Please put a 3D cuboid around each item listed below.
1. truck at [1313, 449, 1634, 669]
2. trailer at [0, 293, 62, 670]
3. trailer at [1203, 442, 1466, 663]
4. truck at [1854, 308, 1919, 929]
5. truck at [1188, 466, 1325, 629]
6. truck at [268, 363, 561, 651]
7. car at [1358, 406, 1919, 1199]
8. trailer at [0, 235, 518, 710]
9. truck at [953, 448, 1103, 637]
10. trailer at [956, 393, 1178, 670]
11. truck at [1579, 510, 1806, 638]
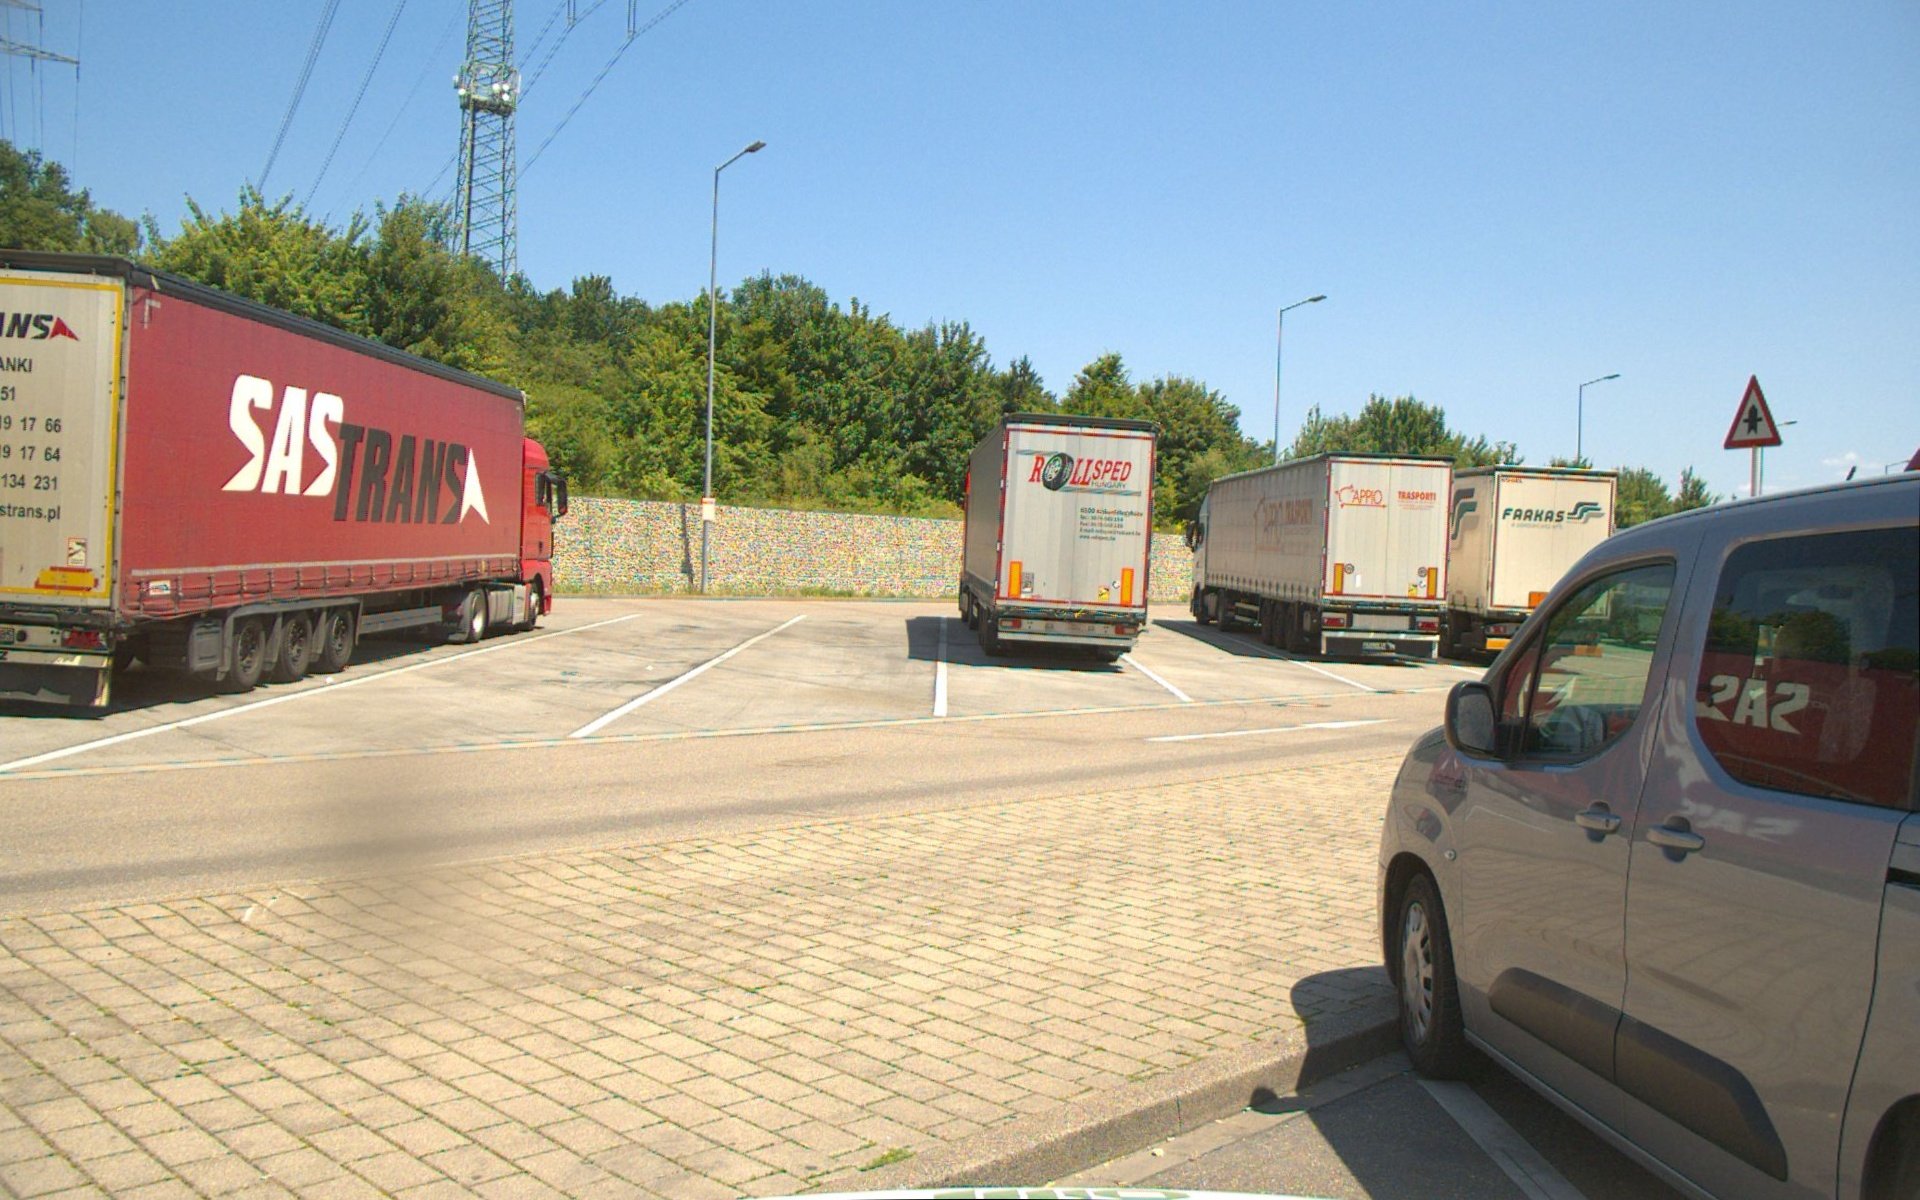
[{"bbox_3d":[11.710,-0.958,40.003,2.846,4.195,14.525,3,1,-1],"label":"truck"},{"bbox_3d":[-12.412,-1.311,15.454,2.689,4.337,9.733,1,1,0],"label":"trailer"},{"bbox_3d":[8.199,-1.051,38.619,2.818,4.196,13.569,1,1,-1],"label":"trailer"},{"bbox_3d":[4.978,0.129,4.945,1.952,2.669,5.305,1,1,3],"label":"truck"},{"bbox_3d":[8.065,-1.413,45.618,2.701,4.196,5.283,1,1,-1],"label":"truck"},{"bbox_3d":[-8.779,-1.422,27.545,2.687,4.152,6.828,1,1,-1],"label":"truck"},{"bbox_3d":[2.431,0.557,3.824,1.790,1.784,3.997,1,1,-4],"label":"car"},{"bbox_3d":[-8.685,-1.261,21.084,2.694,4.128,13.284,1,1,-1],"label":"trailer"},{"bbox_3d":[1.460,-1.381,39.452,2.965,3.997,6.845,2,2,-2],"label":"truck"},{"bbox_3d":[1.694,-1.316,32.686,3.008,4.301,12.805,2,2,-2],"label":"trailer"},{"bbox_3d":[21.950,-0.810,50.196,2.963,3.497,8.529,1,1,-1],"label":"truck"}]
